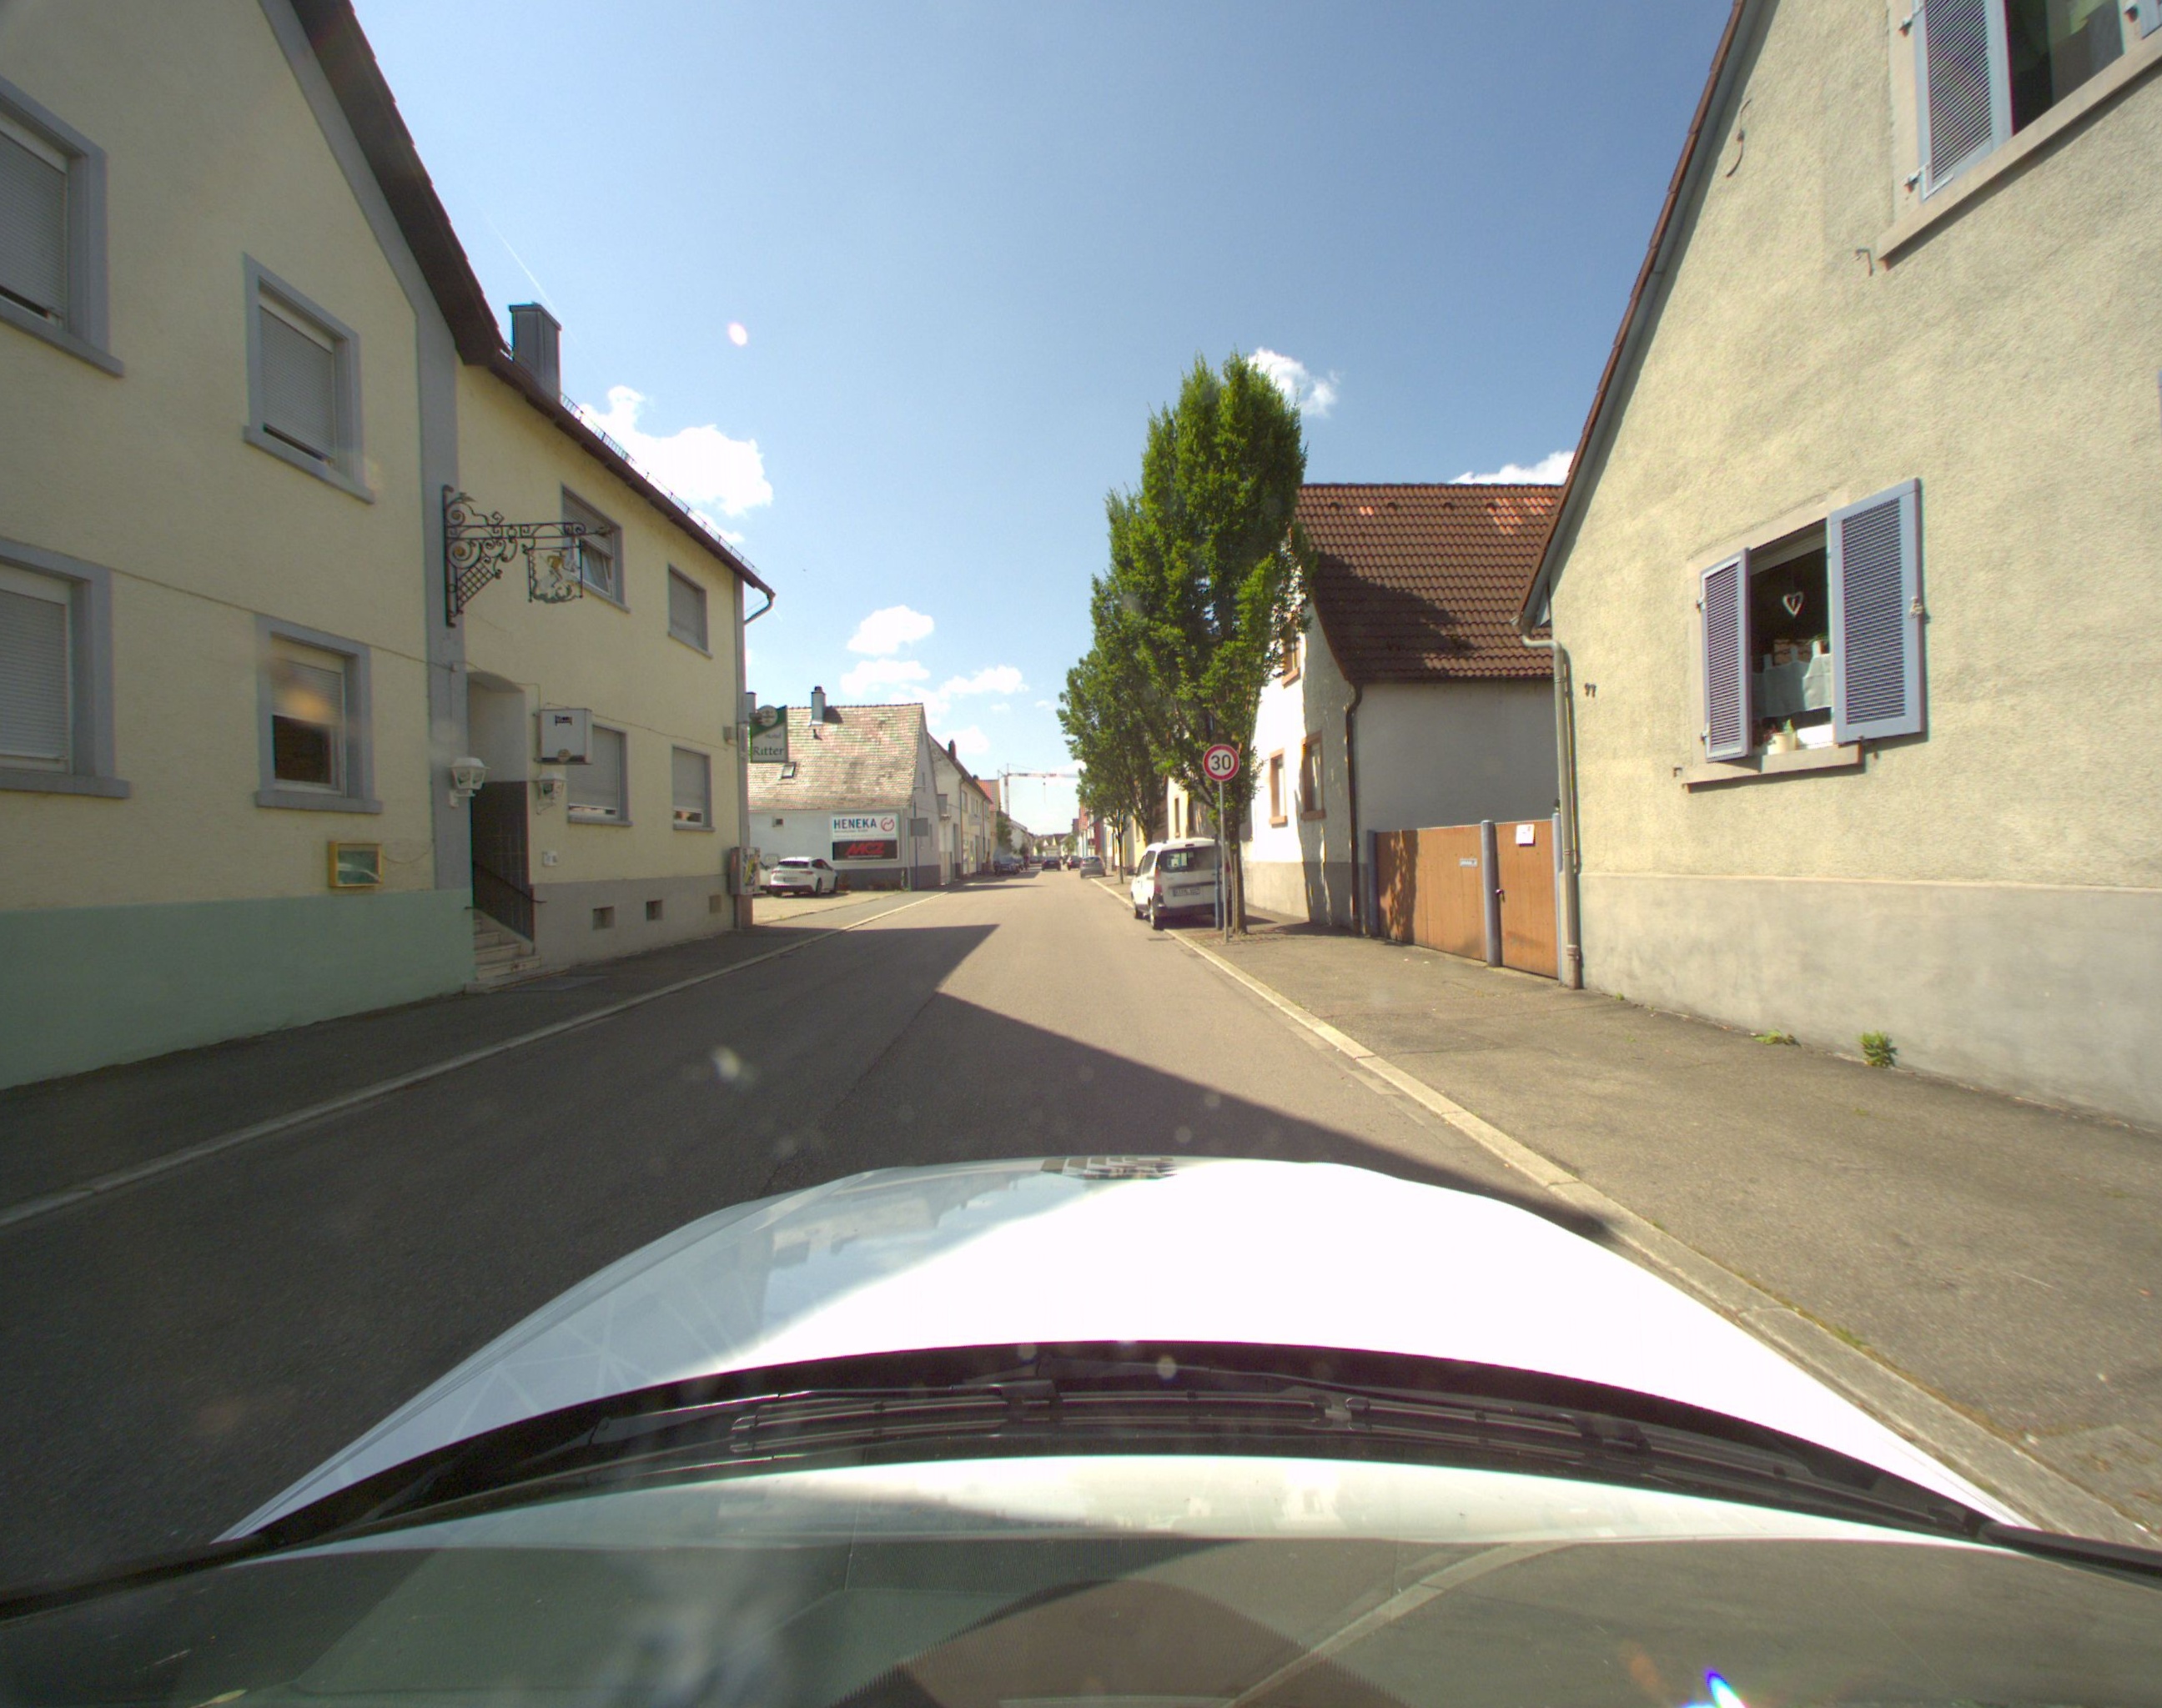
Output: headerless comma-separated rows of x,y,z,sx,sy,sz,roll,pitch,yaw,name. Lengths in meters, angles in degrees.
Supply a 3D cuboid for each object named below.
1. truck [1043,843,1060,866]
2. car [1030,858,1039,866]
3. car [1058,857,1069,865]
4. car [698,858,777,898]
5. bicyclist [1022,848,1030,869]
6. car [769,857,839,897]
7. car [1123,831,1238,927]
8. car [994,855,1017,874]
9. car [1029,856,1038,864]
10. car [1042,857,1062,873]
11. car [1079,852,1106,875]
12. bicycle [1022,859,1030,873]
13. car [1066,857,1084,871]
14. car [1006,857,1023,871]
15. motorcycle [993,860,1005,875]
-5.721,0.168,160.145,3.135,4.250,9.297,0,-1,-1,truck
-9.642,1.753,170.243,1.805,1.589,3.996,-1,0,-3,car
-2.862,1.128,131.954,1.715,1.269,4.153,-1,0,-2,car
-14.093,0.943,33.681,1.716,1.556,4.193,0,0,-4,car
-5.496,0.467,81.225,0.738,2.059,0.843,0,-1,-3,bicyclist
-11.471,0.895,33.982,1.716,1.556,4.193,0,0,-4,car
2.080,0.491,18.121,1.716,1.790,4.138,-3,0,-4,car
-6.351,0.862,68.800,1.805,1.589,3.996,-1,0,-3,car
-9.552,1.238,163.627,1.805,1.589,3.996,-1,0,-3,car
-2.865,1.064,80.902,1.897,1.563,4.474,-1,0,-1,car
0.732,0.610,54.744,1.714,1.461,4.155,-1,0,0,car
-5.493,1.176,81.081,0.749,1.308,2.682,0,-1,-3,bicycle
-0.615,1.028,83.060,1.715,1.355,4.153,-1,0,-2,car
-7.614,1.135,93.640,1.805,1.589,3.996,-1,0,-3,car
-6.503,1.041,64.888,0.844,1.170,2.466,0,-1,-3,motorcycle
